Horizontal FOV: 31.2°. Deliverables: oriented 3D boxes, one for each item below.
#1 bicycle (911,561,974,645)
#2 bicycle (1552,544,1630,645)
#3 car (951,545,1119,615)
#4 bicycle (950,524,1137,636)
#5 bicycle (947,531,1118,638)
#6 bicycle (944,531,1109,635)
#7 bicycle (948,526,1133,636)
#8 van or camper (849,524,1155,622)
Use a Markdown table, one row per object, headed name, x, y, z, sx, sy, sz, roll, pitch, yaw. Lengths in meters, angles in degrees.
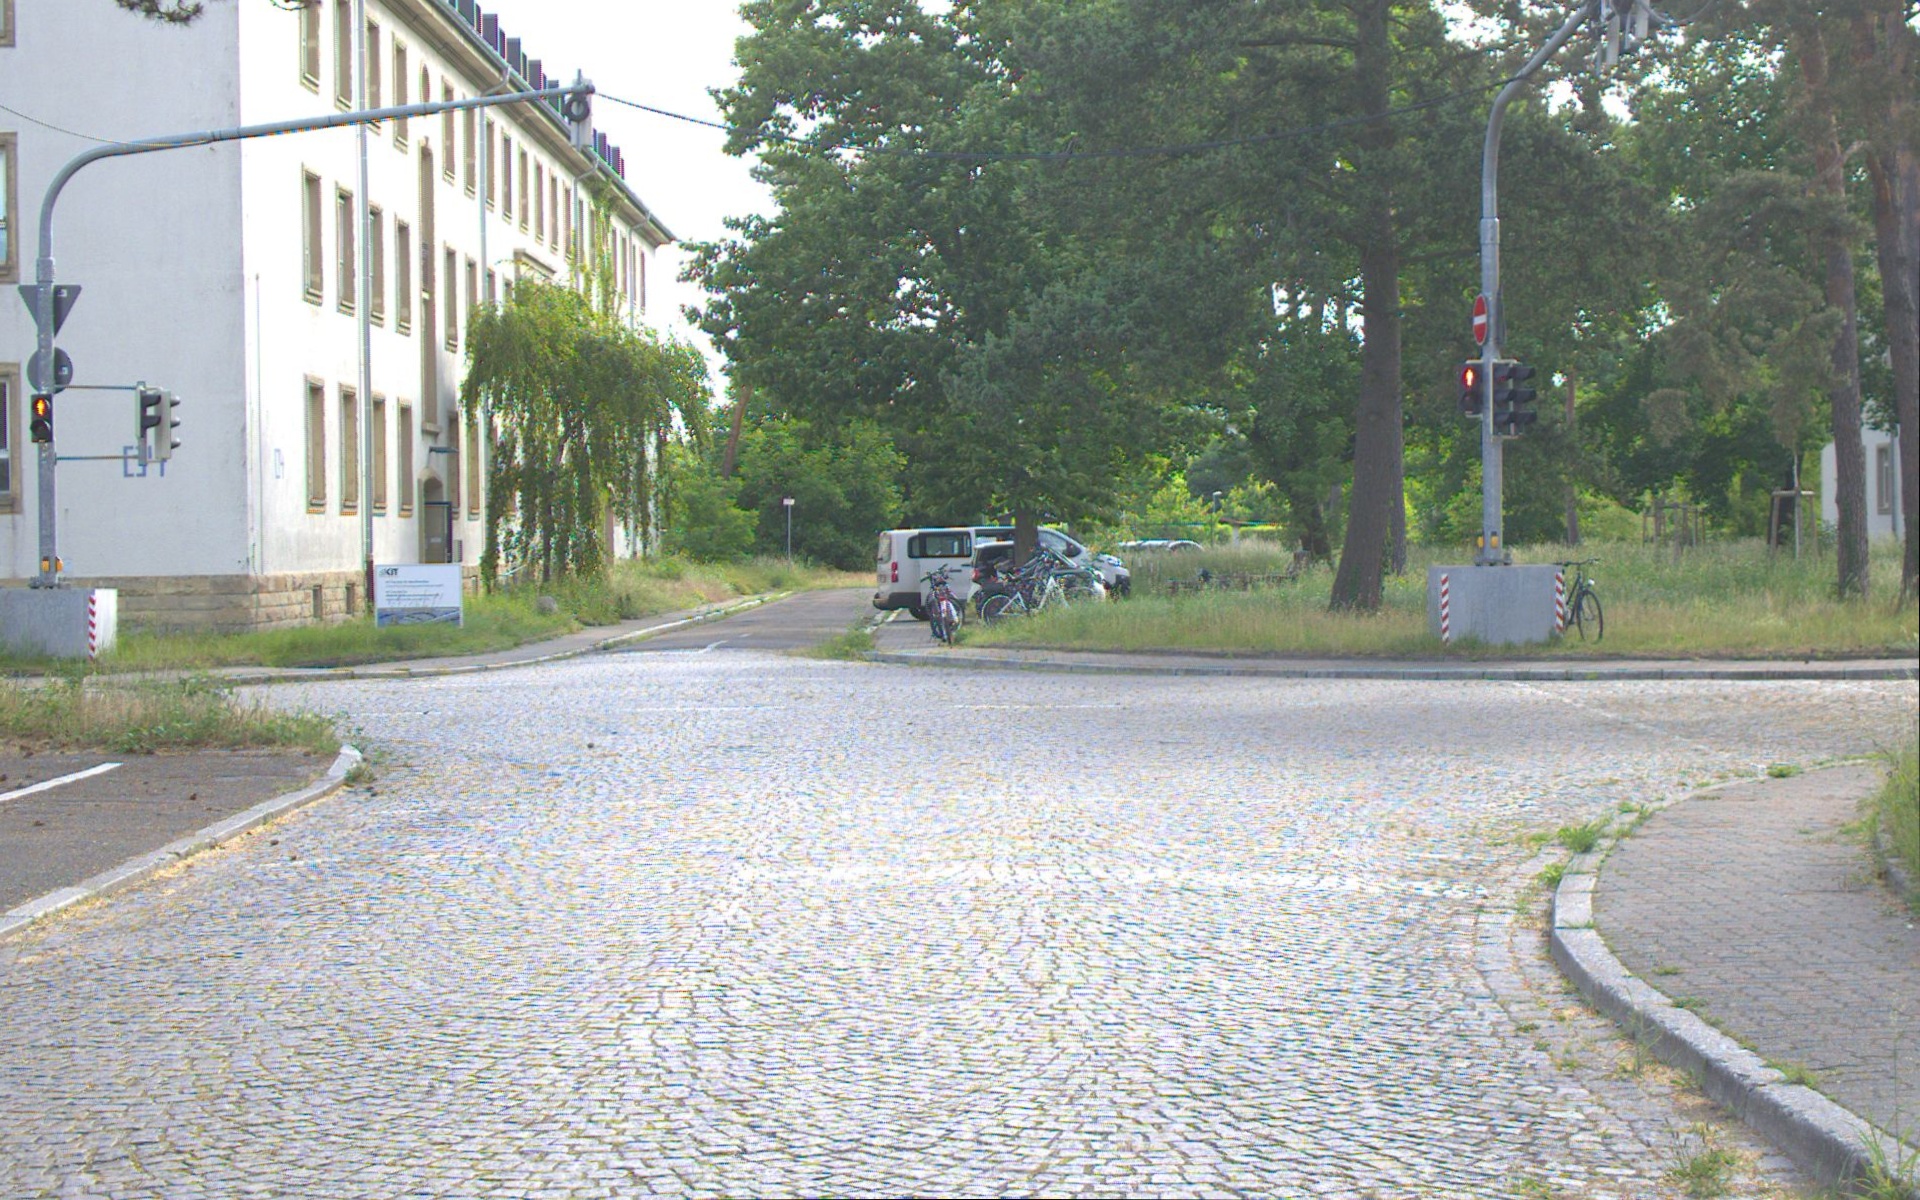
| name | x | y | z | sx | sy | sz | roll | pitch | yaw |
| --- | --- | --- | --- | --- | --- | --- | --- | --- | --- |
| bicycle | -0.235 | 0.027 | 48.932 | 0.725 | 1.104 | 2.462 | -5 | 1 | 2 |
| bicycle | 7.566 | -0.077 | 41.294 | 0.724 | 1.165 | 2.736 | 1 | 1 | 7 |
| car | 1.463 | -0.404 | 67.579 | 3.137 | 1.349 | 1.620 | -1 | 1 | -5 |
| bicycle | 1.286 | -0.317 | 53.186 | 2.775 | 1.688 | 1.120 | -1 | 1 | -5 |
| bicycle | 1.234 | -0.266 | 57.948 | 2.776 | 1.688 | 1.120 | 2 | 1 | 5 |
| bicycle | 1.158 | -0.300 | 59.287 | 2.776 | 1.688 | 1.120 | 2 | 1 | 2 |
| bicycle | 1.267 | -0.308 | 54.381 | 2.775 | 1.688 | 1.120 | -1 | 1 | -7 |
| van or camper | 0.854 | -0.572 | 71.164 | 6.030 | 1.942 | 2.001 | -1 | 1 | -13 |
